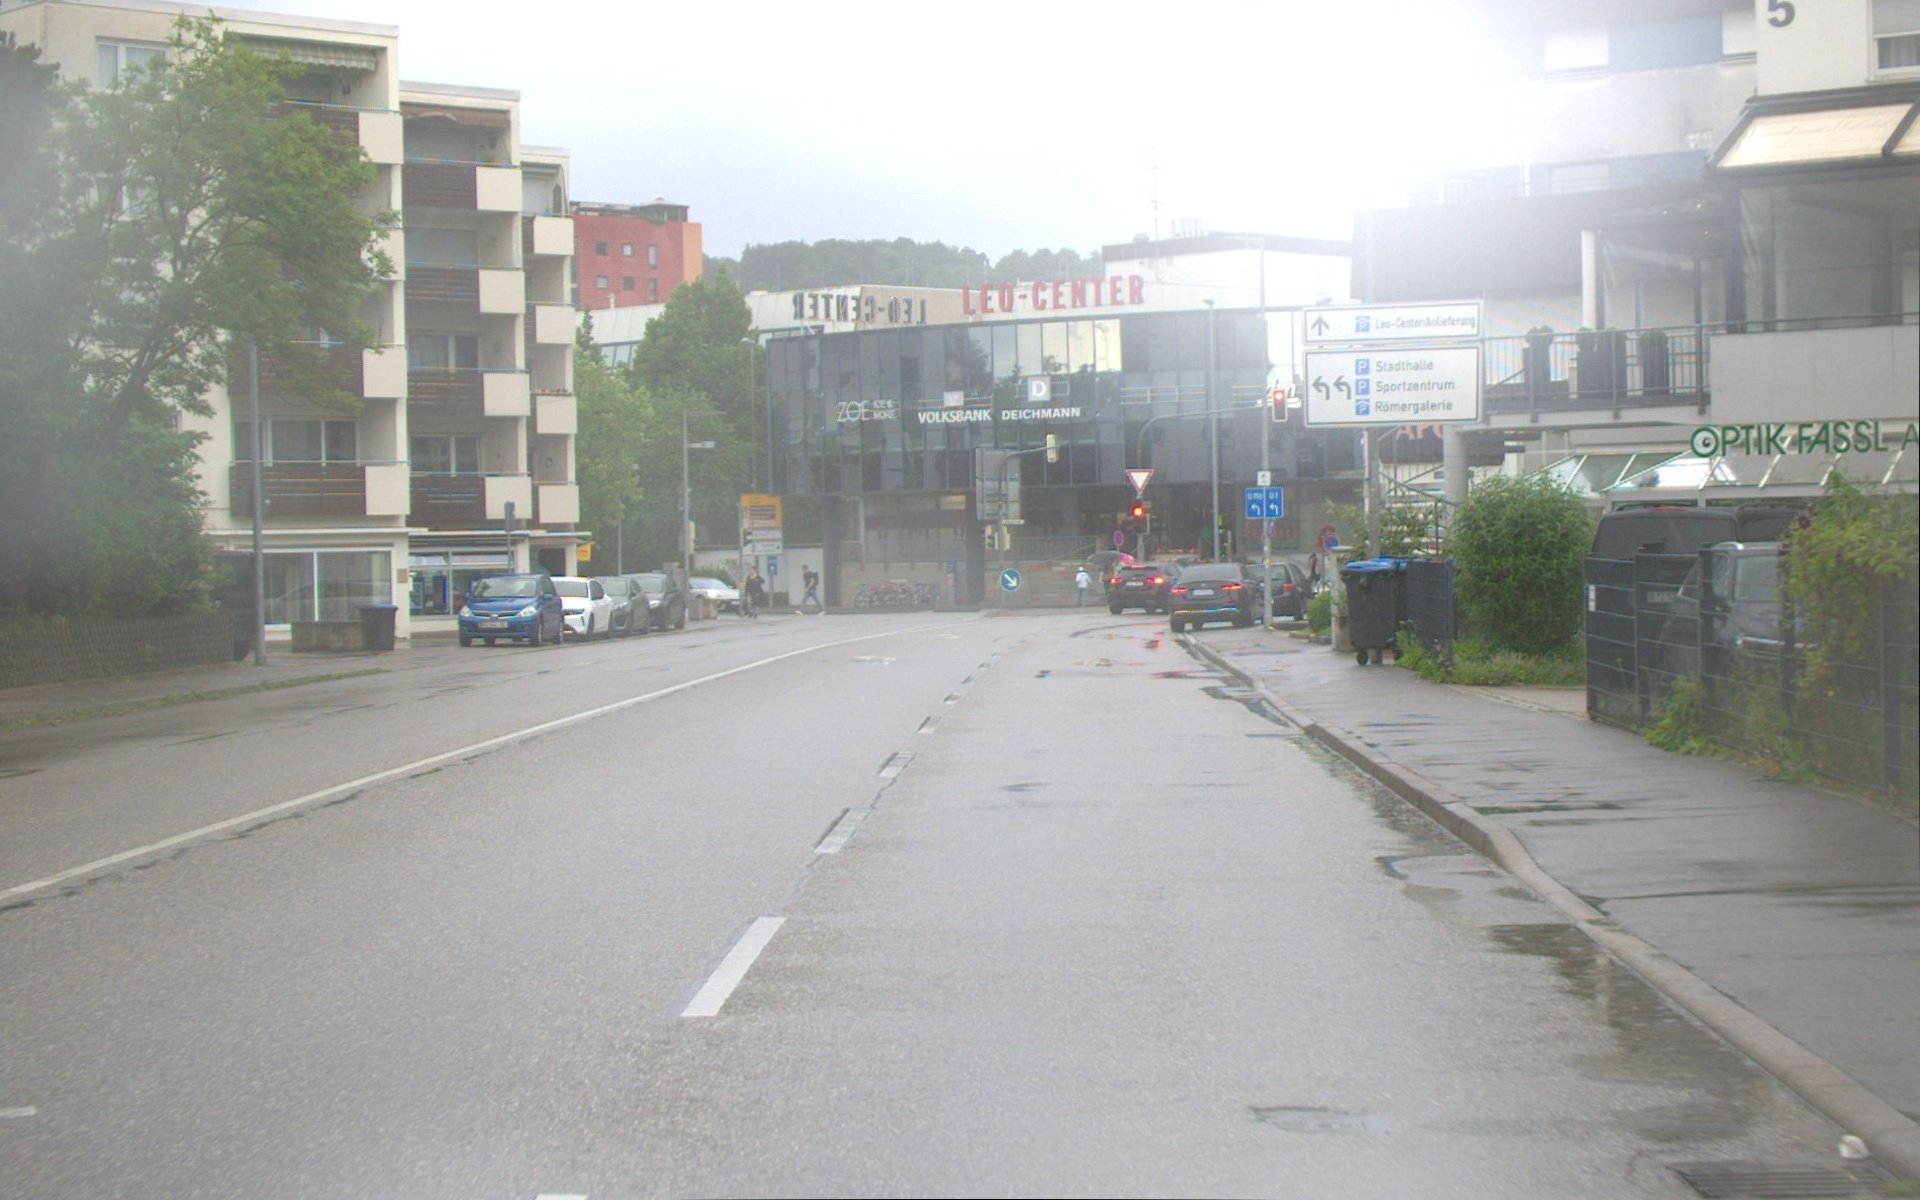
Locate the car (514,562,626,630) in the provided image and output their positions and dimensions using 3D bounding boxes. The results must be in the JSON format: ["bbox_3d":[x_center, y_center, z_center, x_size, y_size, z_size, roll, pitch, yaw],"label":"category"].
[{"bbox_3d":[-8.877,-0.114,78.598,1.693,1.459,4.683,-1,1,4],"label":"car"}]

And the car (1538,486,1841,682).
[{"bbox_3d":[8.102,-0.219,37.860,1.996,2.007,4.772,-1,1,28],"label":"car"}]

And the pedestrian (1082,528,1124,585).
[{"bbox_3d":[4.266,-1.294,102.615,0.908,1.653,0.755,2,2,-24],"label":"pedestrian"}]

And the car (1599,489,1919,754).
[{"bbox_3d":[6.342,0.093,25.749,1.993,1.779,4.691,-1,1,-3],"label":"car"}]

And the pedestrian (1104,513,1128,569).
[{"bbox_3d":[4.691,-1.791,103.556,0.609,1.653,0.672,3,2,-1],"label":"pedestrian"}]

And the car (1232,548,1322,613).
[{"bbox_3d":[8.075,-0.507,87.222,1.699,1.481,3.998,-4,0,12],"label":"car"}]

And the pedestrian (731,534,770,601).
[{"bbox_3d":[-6.426,-0.997,105.468,0.749,2.007,0.920,3,1,25],"label":"pedestrian"}]

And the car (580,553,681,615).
[{"bbox_3d":[-8.533,-0.435,89.326,1.935,1.536,4.272,-1,1,4],"label":"car"}]

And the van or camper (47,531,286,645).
[{"bbox_3d":[-14.499,-0.263,62.604,1.994,1.918,5.216,-3,3,-41],"label":"van or camper"}]

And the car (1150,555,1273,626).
[{"bbox_3d":[5.610,-0.195,76.227,1.995,1.528,4.644,0,0,13],"label":"car"}]

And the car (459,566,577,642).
[{"bbox_3d":[-9.290,0.058,72.549,1.652,1.515,4.324,-1,1,4],"label":"car"}]

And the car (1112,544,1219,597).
[{"bbox_3d":[5.758,-0.836,95.814,1.806,1.414,3.996,-1,1,22],"label":"car"}]

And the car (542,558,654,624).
[{"bbox_3d":[-8.784,-0.245,83.818,1.935,1.536,4.520,-1,1,4],"label":"car"}]

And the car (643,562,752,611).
[{"bbox_3d":[-9.564,-0.514,124.966,1.993,1.506,4.433,2,2,-33],"label":"car"}]

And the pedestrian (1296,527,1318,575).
[{"bbox_3d":[14.573,-2.048,144.175,0.788,2.007,0.670,-1,0,14],"label":"pedestrian"}]

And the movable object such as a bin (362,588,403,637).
[{"bbox_3d":[-11.536,0.248,68.741,0.648,0.962,0.682,-1,1,4],"label":"movable object such as a bin"}]
